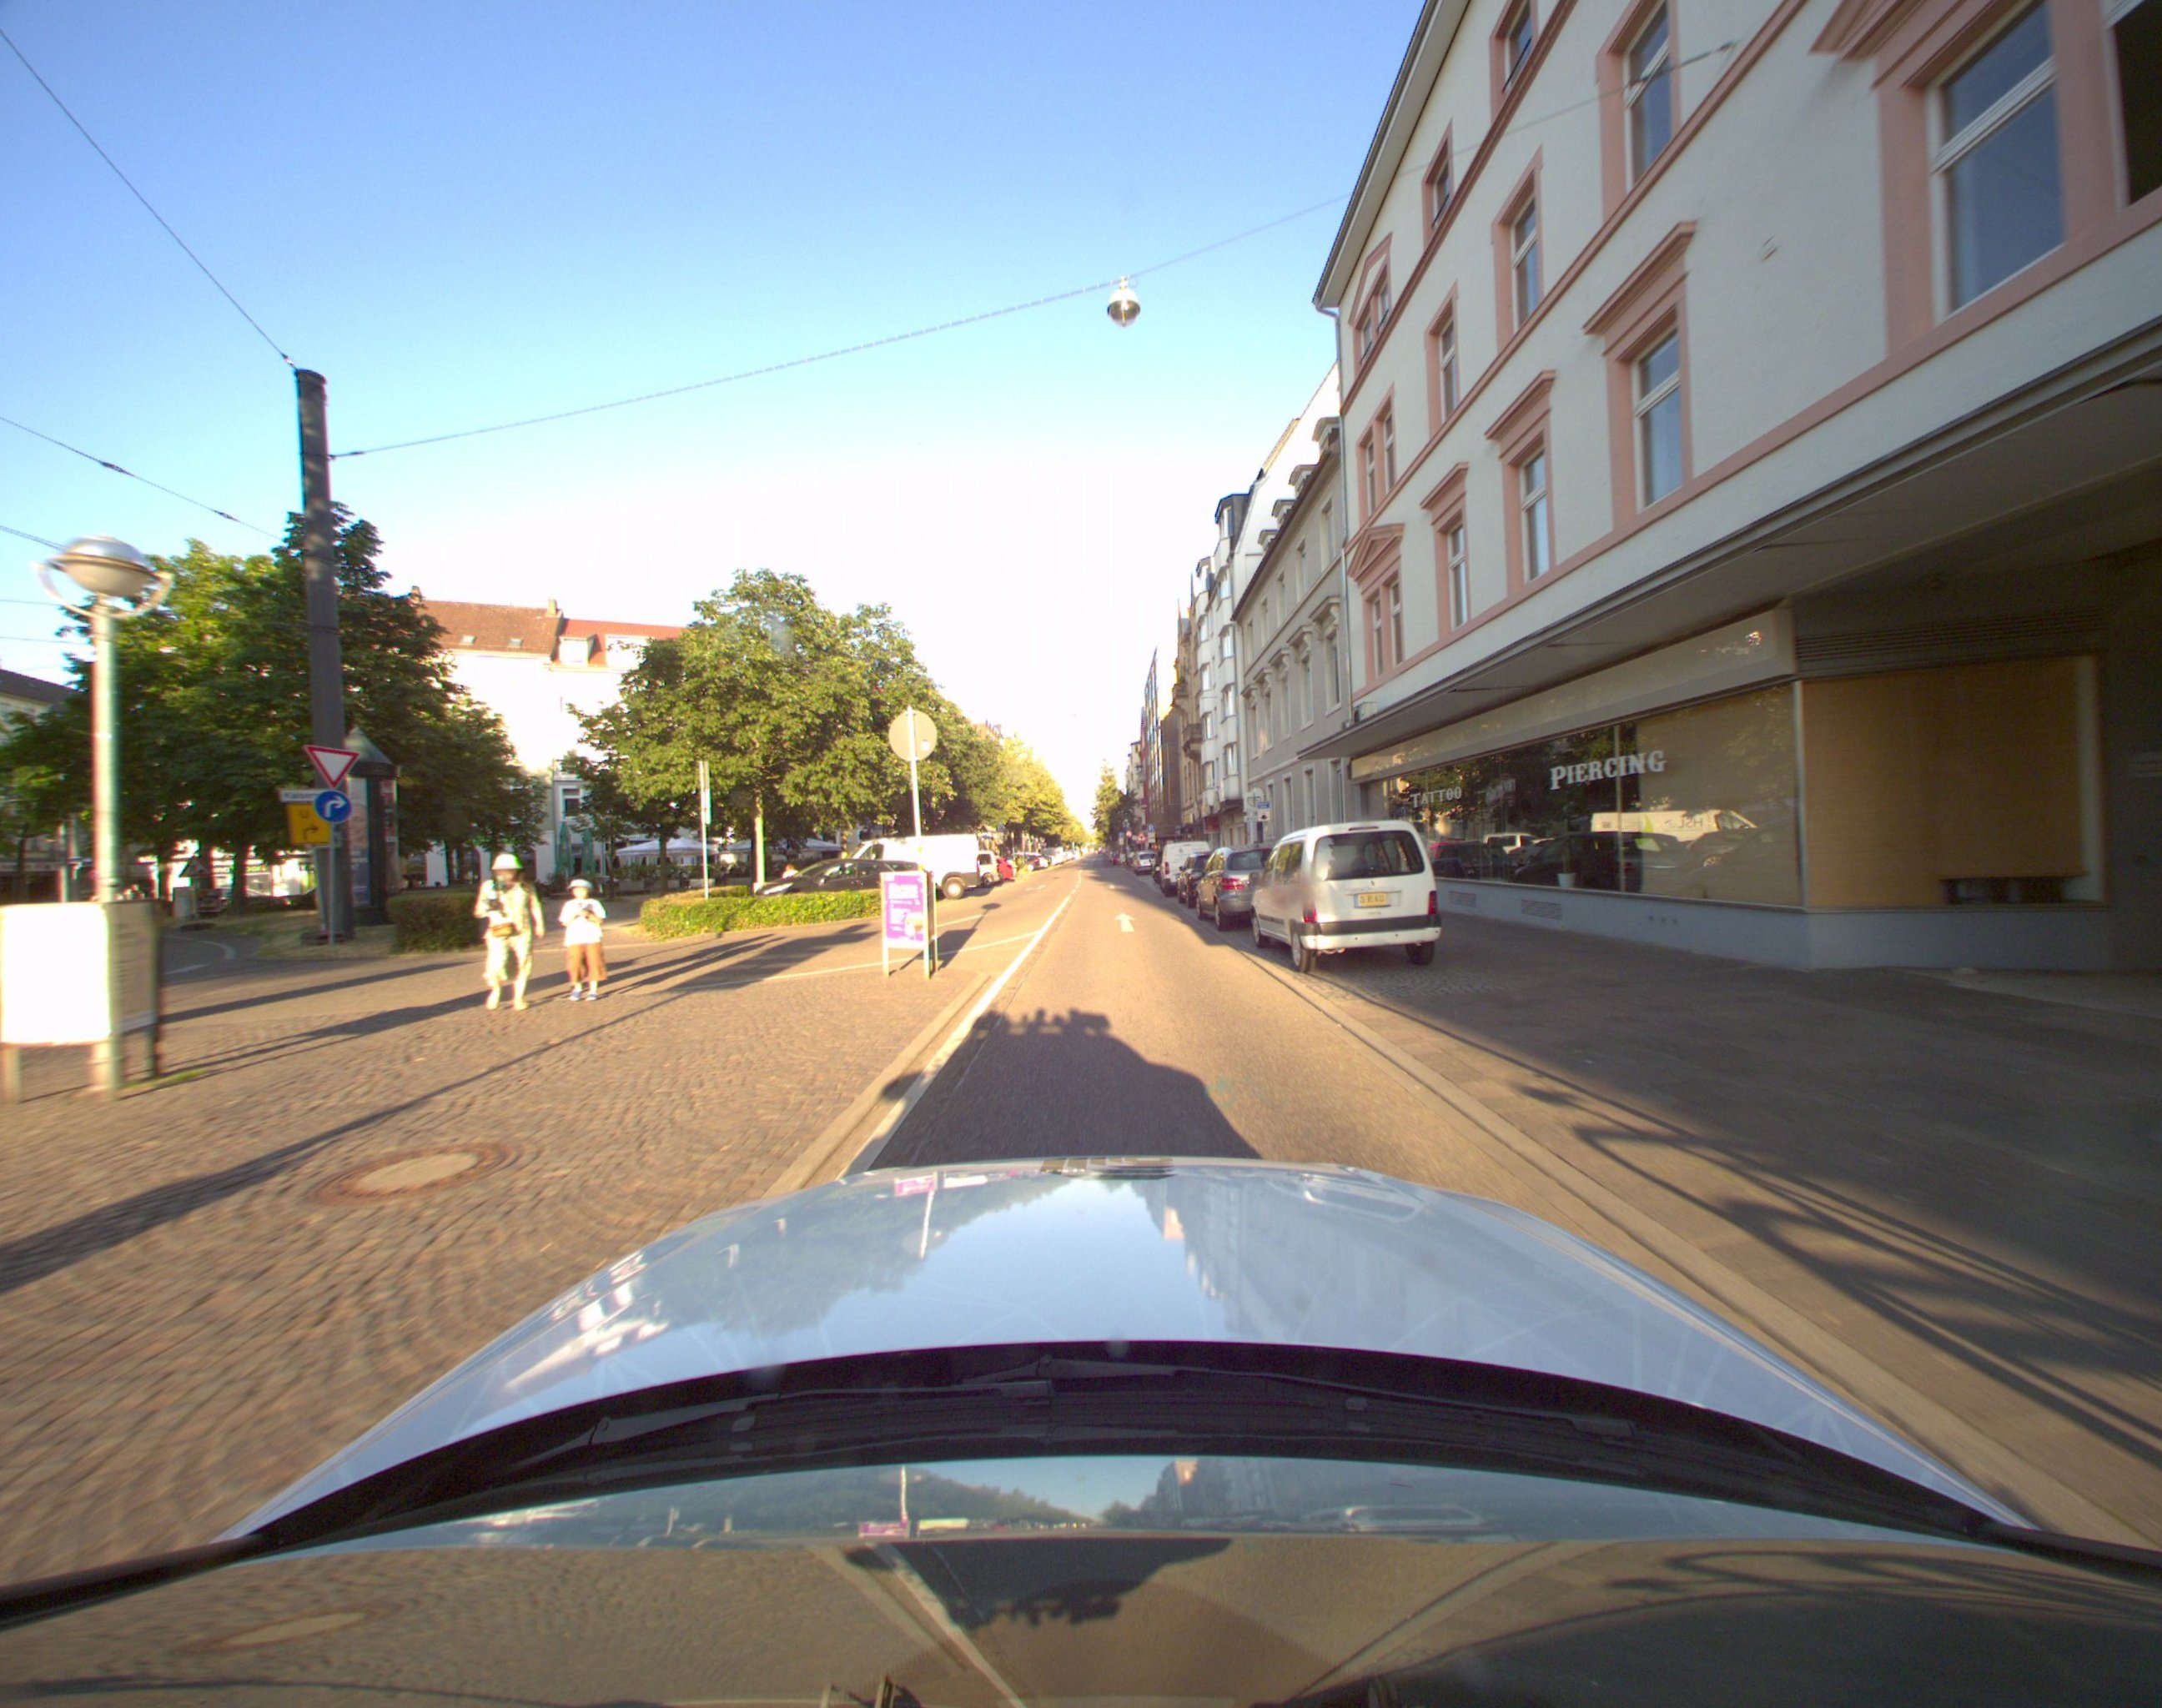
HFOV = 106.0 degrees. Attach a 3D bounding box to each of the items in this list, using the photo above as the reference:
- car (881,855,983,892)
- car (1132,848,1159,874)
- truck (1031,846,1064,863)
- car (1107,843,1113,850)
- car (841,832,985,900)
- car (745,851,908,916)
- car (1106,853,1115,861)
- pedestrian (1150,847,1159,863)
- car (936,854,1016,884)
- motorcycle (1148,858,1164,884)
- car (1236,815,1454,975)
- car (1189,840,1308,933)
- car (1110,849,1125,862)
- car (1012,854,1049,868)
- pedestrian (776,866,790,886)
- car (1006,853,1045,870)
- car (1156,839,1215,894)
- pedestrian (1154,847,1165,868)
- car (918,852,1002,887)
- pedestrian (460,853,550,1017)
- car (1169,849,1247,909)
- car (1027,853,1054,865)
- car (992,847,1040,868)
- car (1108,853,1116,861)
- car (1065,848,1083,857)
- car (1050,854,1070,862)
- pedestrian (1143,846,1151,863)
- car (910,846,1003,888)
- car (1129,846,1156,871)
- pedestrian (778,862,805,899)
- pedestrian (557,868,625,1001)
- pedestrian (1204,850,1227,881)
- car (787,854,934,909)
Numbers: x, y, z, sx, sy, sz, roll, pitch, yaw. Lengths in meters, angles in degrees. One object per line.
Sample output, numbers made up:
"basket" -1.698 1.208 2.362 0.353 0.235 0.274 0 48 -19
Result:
"car" -6.519 0.837 35.803 4.018 1.492 1.829 -1 0 -37
"car" 4.388 0.435 55.693 1.673 1.561 4.004 -3 1 4
"truck" -5.077 0.087 125.380 4.924 2.615 2.000 -1 0 0
"car" 7.233 -1.937 205.251 1.305 1.600 2.659 -1 -1 -1
"car" -5.997 0.377 29.043 4.622 2.251 2.184 -1 0 -26
"car" -6.888 0.737 22.148 3.899 1.582 1.784 -1 0 -34
"car" 4.684 0.468 128.169 1.203 1.300 2.659 -1 0 -1
"pedestrian" 7.922 0.095 87.828 0.763 1.689 0.786 -3 0 -1
"car" -5.923 0.834 46.007 4.010 1.485 1.982 -2 0 -28
"motorcycle" 3.578 0.793 38.841 0.586 1.200 2.211 -1 1 1
"car" 3.435 0.468 11.454 1.786 1.792 4.093 -2 0 1
"car" 3.342 0.577 16.934 1.651 1.665 4.108 -1 0 1
"car" 4.620 0.218 102.525 1.572 1.542 3.394 -4 0 -2
"car" -5.791 0.770 93.946 4.161 1.507 2.000 -1 0 0
"pedestrian" -17.578 1.310 48.076 0.576 1.172 0.536 0 0 8
"car" -5.858 0.752 86.033 3.976 1.708 1.833 -1 0 0
"car" 3.707 0.401 29.418 1.703 1.835 4.308 -1 1 2
"pedestrian" 6.275 0.255 65.001 0.752 1.640 1.259 -1 0 0
"car" -6.310 0.768 42.594 4.017 1.696 1.731 -1 0 -35
"pedestrian" -5.882 0.780 8.328 0.703 1.559 0.687 -1 0 -36
"car" 3.521 0.640 23.191 1.661 1.544 3.883 -1 1 1
"car" -5.660 0.695 113.852 3.727 1.596 2.000 -1 0 0
"car" -6.260 0.297 79.034 4.434 1.834 2.034 -1 3 0
"car" 5.128 0.515 134.620 1.203 1.300 2.659 -1 -1 -1
"car" -1.390 -0.378 165.108 3.727 1.708 2.000 -1 0 0
"car" -4.087 0.787 158.344 3.727 1.493 2.000 -1 0 0
"pedestrian" 7.125 0.058 87.815 0.713 1.865 0.679 -2 0 -2
"car" -5.990 0.584 39.297 4.017 1.878 1.851 -1 1 -35
"car" 4.573 0.311 60.609 1.690 1.769 4.000 -2 1 1
"pedestrian" -10.405 0.928 29.274 0.752 1.277 0.654 -1 0 -36
"pedestrian" -5.372 0.848 8.920 0.567 1.364 0.607 -1 0 -36
"pedestrian" 6.630 0.572 40.109 0.952 1.487 0.992 -1 0 1
"car" -6.813 0.786 25.367 4.020 1.486 1.812 -1 1 -39
